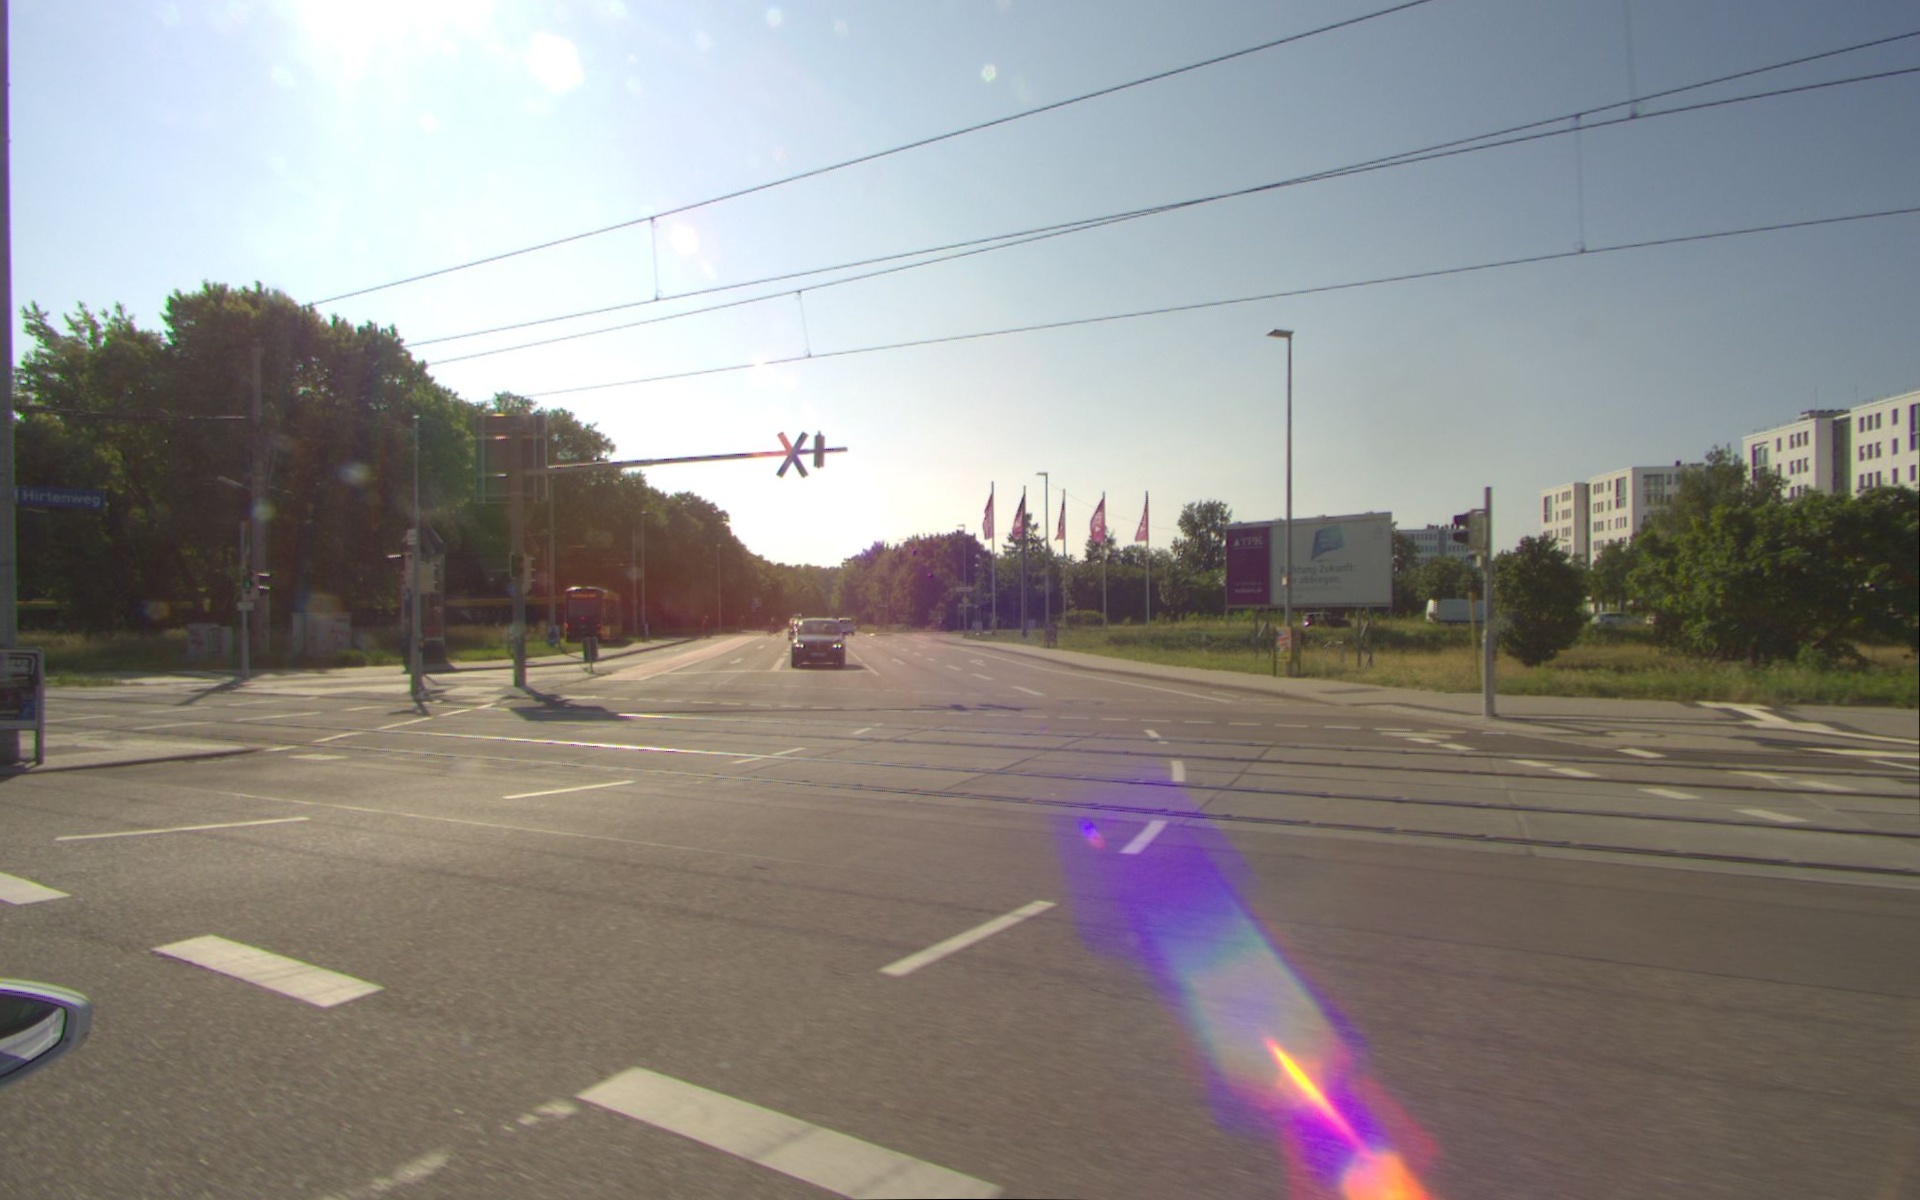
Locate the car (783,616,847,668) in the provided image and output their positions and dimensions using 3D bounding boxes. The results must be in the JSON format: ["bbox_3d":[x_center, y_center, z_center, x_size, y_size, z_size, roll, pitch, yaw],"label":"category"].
[{"bbox_3d":[-4.933,1.385,34.548,2.005,1.583,4.860,0,0,-6],"label":"car"}]

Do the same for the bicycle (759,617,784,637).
[{"bbox_3d":[-16.842,2.424,89.505,2.584,1.735,0.788,-1,-1,43],"label":"bicycle"}]

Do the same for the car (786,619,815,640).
[{"bbox_3d":[-10.911,1.998,68.641,1.716,1.352,4.306,0,-1,-6],"label":"car"}]

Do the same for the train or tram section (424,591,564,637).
[{"bbox_3d":[-38.208,1.182,81.992,12.023,3.626,3.046,-1,0,22],"label":"train or tram section"}]

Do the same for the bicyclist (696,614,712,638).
[{"bbox_3d":[-21.831,2.219,85.551,1.077,2.039,1.140,0,-1,-2],"label":"bicyclist"}]

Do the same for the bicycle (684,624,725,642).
[{"bbox_3d":[-21.796,2.812,85.539,3.166,1.472,1.131,-1,-1,-1],"label":"bicycle"}]

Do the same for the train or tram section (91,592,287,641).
[{"bbox_3d":[-60.851,1.302,79.637,12.066,3.626,3.036,0,-1,-33],"label":"train or tram section"}]

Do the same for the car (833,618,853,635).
[{"bbox_3d":[-11.055,2.476,94.597,1.820,1.583,4.203,0,-1,-6],"label":"car"}]

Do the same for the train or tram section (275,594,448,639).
[{"bbox_3d":[-49.665,1.320,83.530,12.004,3.626,3.051,0,0,-12],"label":"train or tram section"}]

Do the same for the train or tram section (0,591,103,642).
[{"bbox_3d":[-70.495,1.208,72.783,12.292,3.626,3.031,0,-1,-38],"label":"train or tram section"}]

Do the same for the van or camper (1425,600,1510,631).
[{"bbox_3d":[46.078,1.420,91.055,6.611,2.815,2.240,0,0,1],"label":"van or camper"}]

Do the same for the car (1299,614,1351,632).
[{"bbox_3d":[33.192,2.051,91.117,3.922,1.617,2.000,0,0,-2],"label":"car"}]

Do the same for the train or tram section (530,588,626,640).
[{"bbox_3d":[-28.768,1.070,74.898,3.020,3.626,12.130,0,-1,-39],"label":"train or tram section"}]

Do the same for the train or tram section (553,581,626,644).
[{"bbox_3d":[-23.418,0.816,63.845,2.998,3.626,11.838,0,-1,-14],"label":"train or tram section"}]
